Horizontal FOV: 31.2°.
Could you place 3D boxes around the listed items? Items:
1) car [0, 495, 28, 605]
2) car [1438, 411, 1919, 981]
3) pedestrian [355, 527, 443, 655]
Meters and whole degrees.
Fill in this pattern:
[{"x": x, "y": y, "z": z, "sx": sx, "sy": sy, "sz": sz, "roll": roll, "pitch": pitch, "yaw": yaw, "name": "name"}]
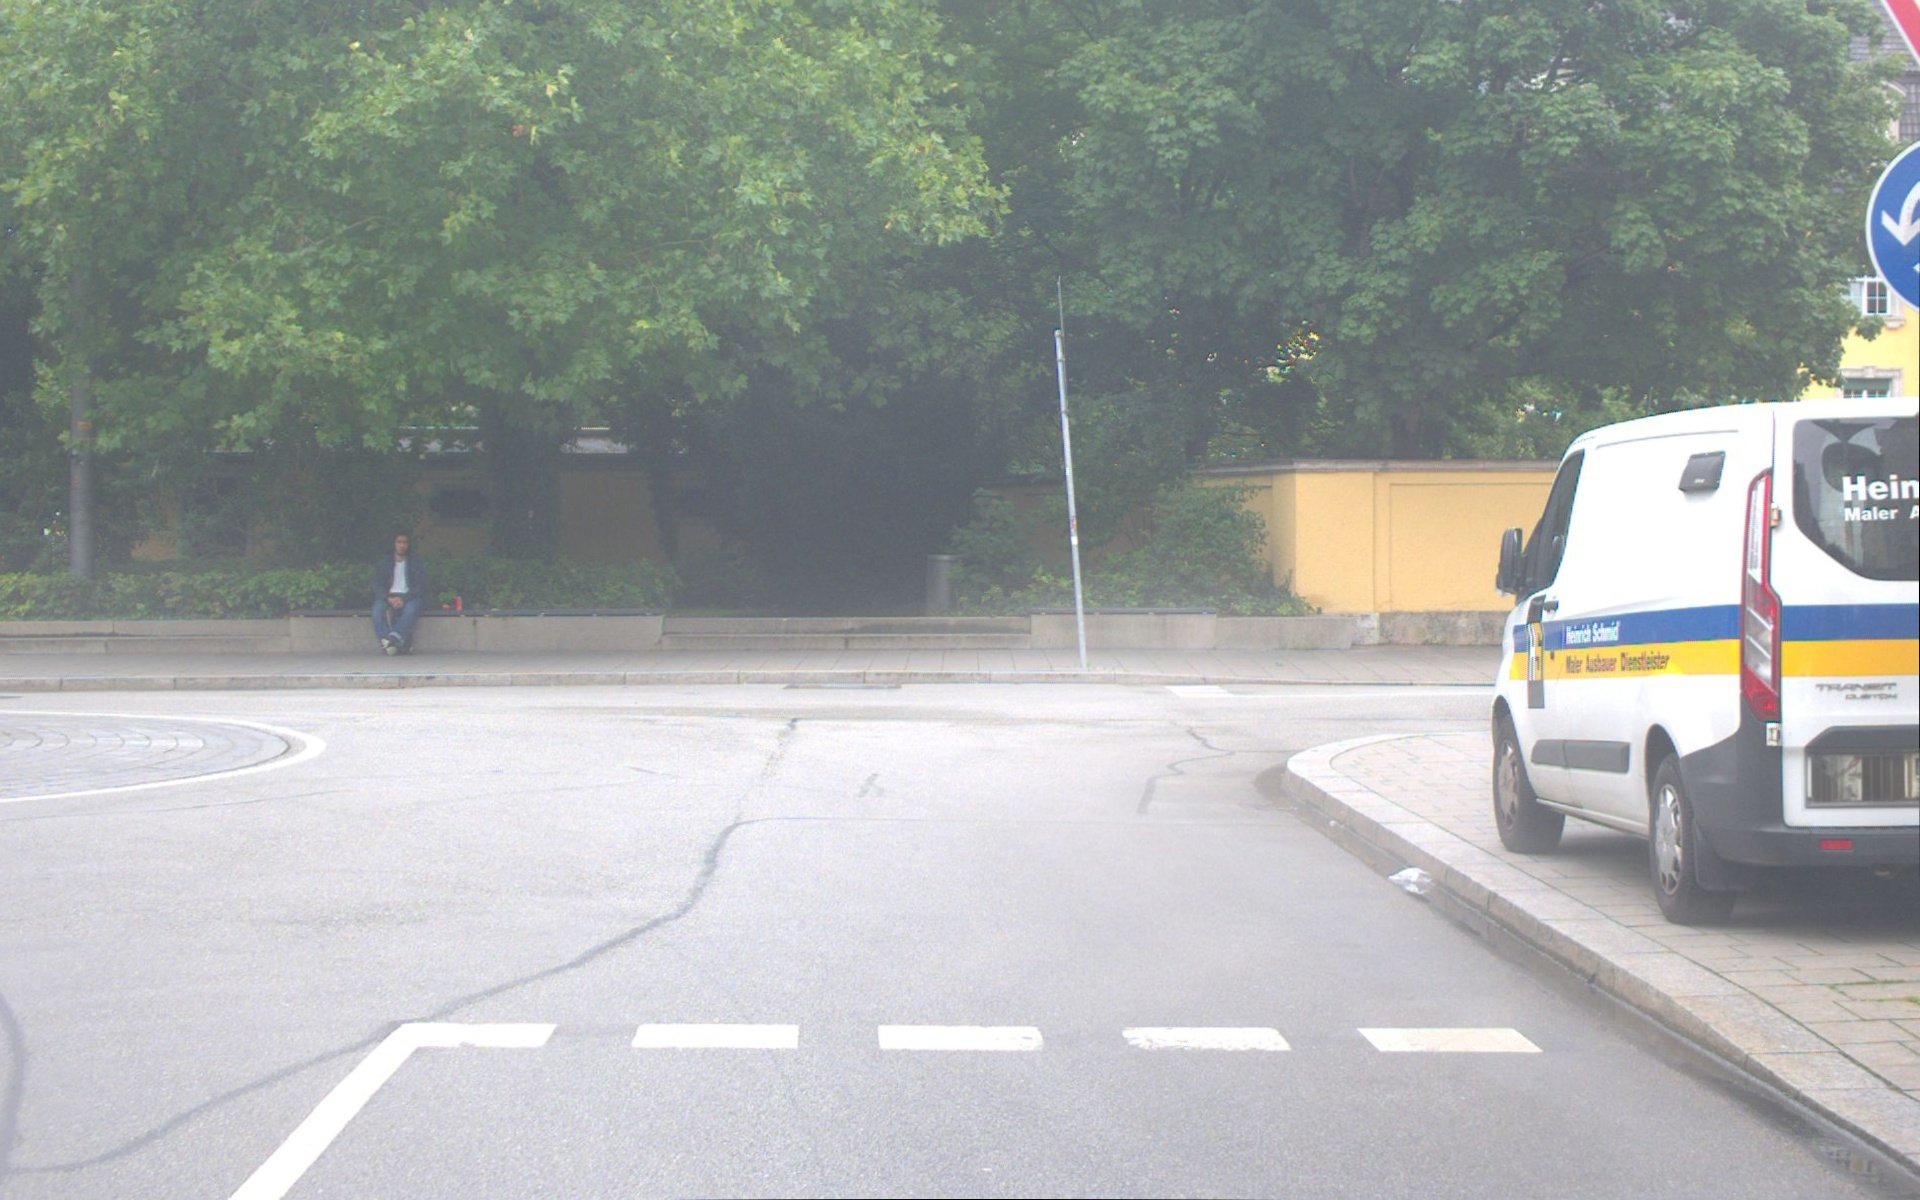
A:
[{"x": -23.525, "y": -1.200, "z": 81.875, "sx": 1.993, "sy": 2.549, "sz": 5.432, "roll": 0, "pitch": 1, "yaw": -9, "name": "car"}, {"x": 3.462, "y": 0.250, "z": 14.334, "sx": 1.938, "sy": 1.915, "sz": 5.375, "roll": -1, "pitch": 1, "yaw": -2, "name": "car"}, {"x": -6.019, "y": -0.110, "z": 36.949, "sx": 0.769, "sy": 1.352, "sz": 1.131, "roll": 0, "pitch": 1, "yaw": 0, "name": "pedestrian"}]
